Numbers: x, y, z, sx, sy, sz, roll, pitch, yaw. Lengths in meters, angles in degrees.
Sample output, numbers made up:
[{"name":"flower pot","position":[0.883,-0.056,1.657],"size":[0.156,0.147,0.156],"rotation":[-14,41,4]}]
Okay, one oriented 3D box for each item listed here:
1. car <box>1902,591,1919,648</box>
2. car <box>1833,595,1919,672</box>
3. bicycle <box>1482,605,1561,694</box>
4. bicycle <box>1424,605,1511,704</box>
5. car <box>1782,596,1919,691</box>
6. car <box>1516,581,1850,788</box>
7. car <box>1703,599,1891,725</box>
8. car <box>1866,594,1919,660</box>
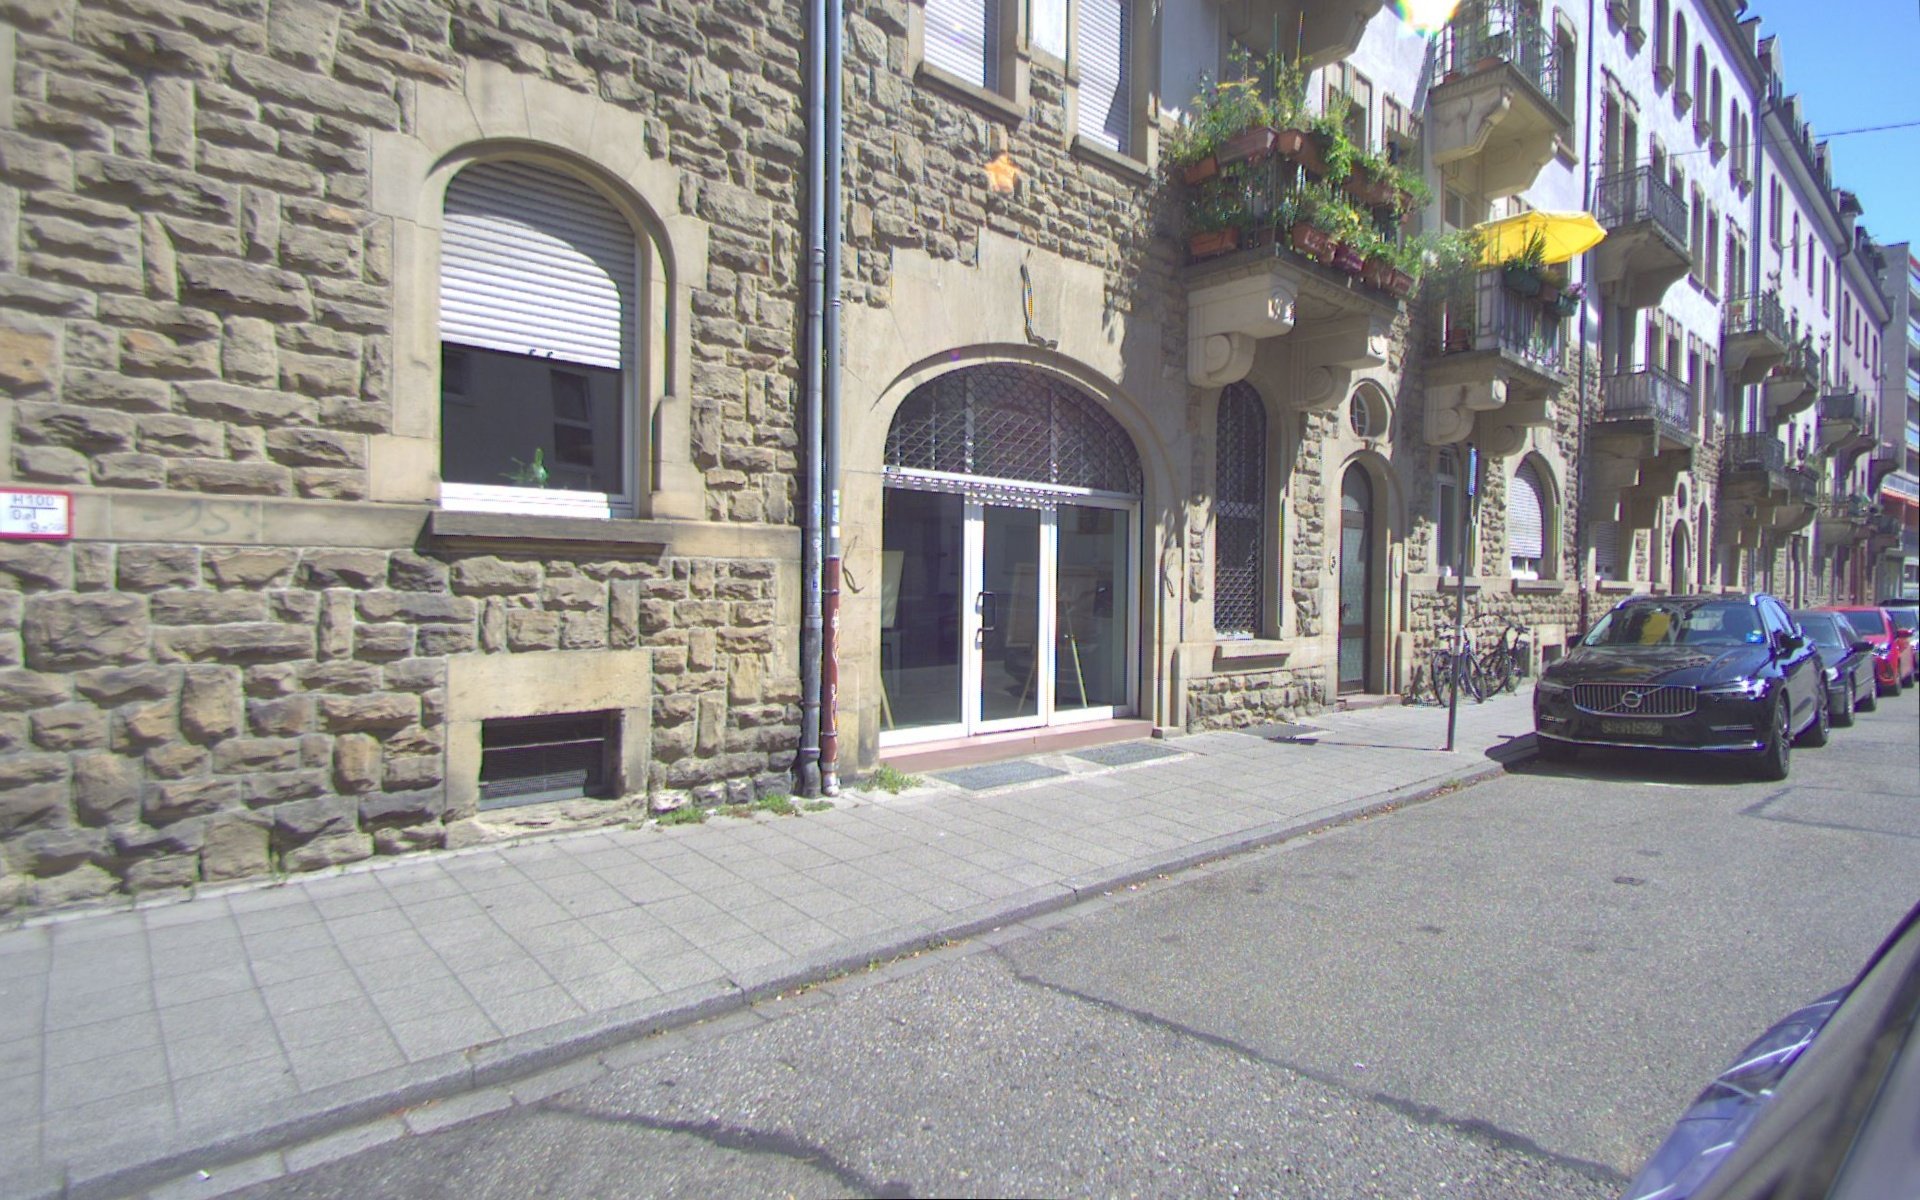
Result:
[{"name":"car","position":[27.733,0.530,28.211],"size":[4.588,1.476,1.739],"rotation":[-1,2,-42]},{"name":"car","position":[19.745,0.646,21.266],"size":[3.790,1.471,1.592],"rotation":[-1,-1,-42]},{"name":"bicycle","position":[8.426,0.707,15.155],"size":[1.744,1.223,0.442],"rotation":[-1,2,-41]},{"name":"bicycle","position":[6.818,0.699,13.551],"size":[1.744,1.223,0.385],"rotation":[-1,2,-41]},{"name":"car","position":[15.859,0.685,17.814],"size":[3.777,1.471,1.572],"rotation":[-1,-1,-42]},{"name":"car","position":[7.279,0.635,9.987],"size":[4.528,1.587,1.834],"rotation":[-1,-1,-43]},{"name":"car","position":[11.348,0.731,13.637],"size":[3.907,1.416,1.513],"rotation":[-1,-1,-44]},{"name":"car","position":[23.643,0.608,24.616],"size":[4.515,1.471,1.720],"rotation":[-1,0,-40]}]
